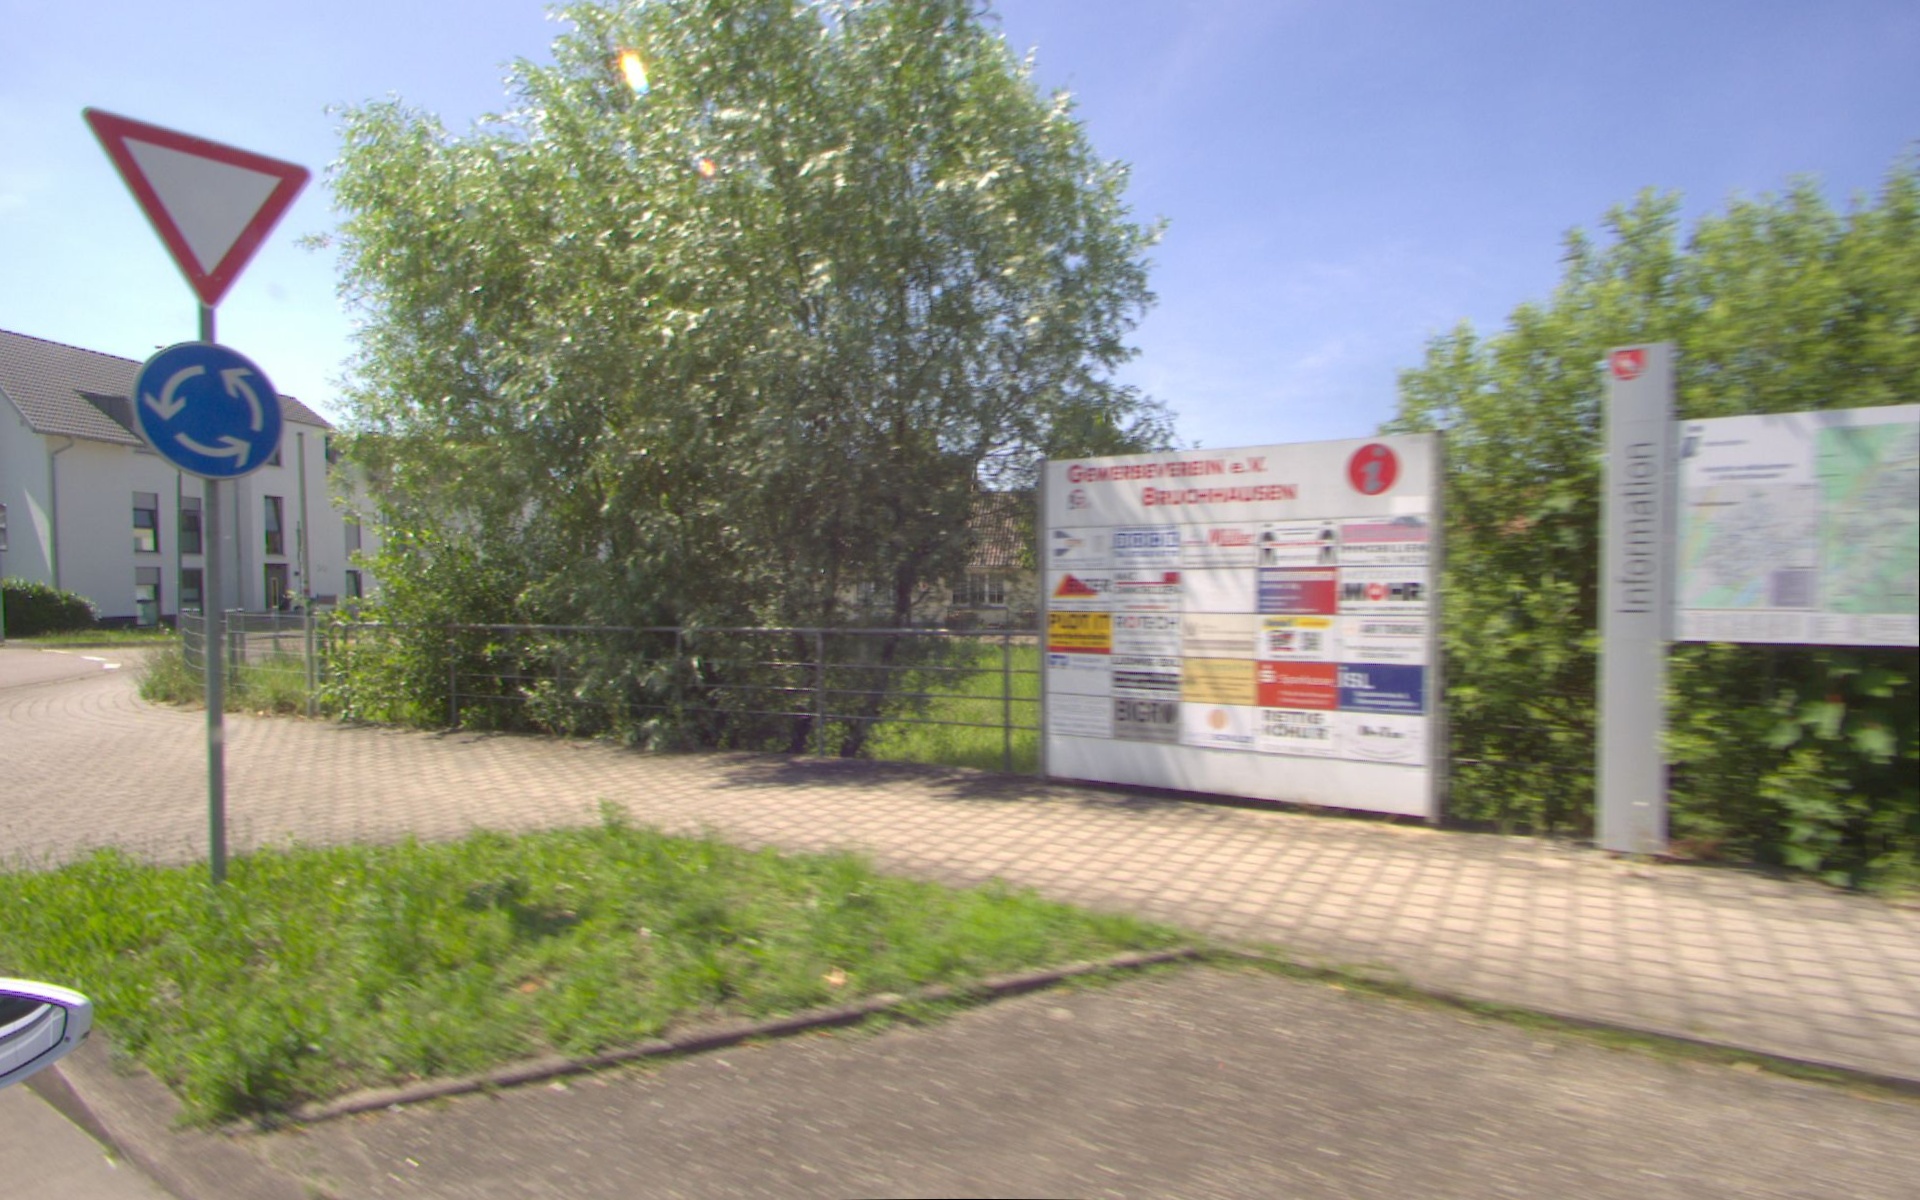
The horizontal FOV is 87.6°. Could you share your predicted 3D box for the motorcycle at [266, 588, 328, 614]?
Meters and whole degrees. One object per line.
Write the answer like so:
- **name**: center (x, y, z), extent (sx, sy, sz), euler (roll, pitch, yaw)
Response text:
- **motorcycle**: center (-27.740, 0.037, 41.903), extent (2.324, 1.027, 0.671), euler (1, 0, 11)
